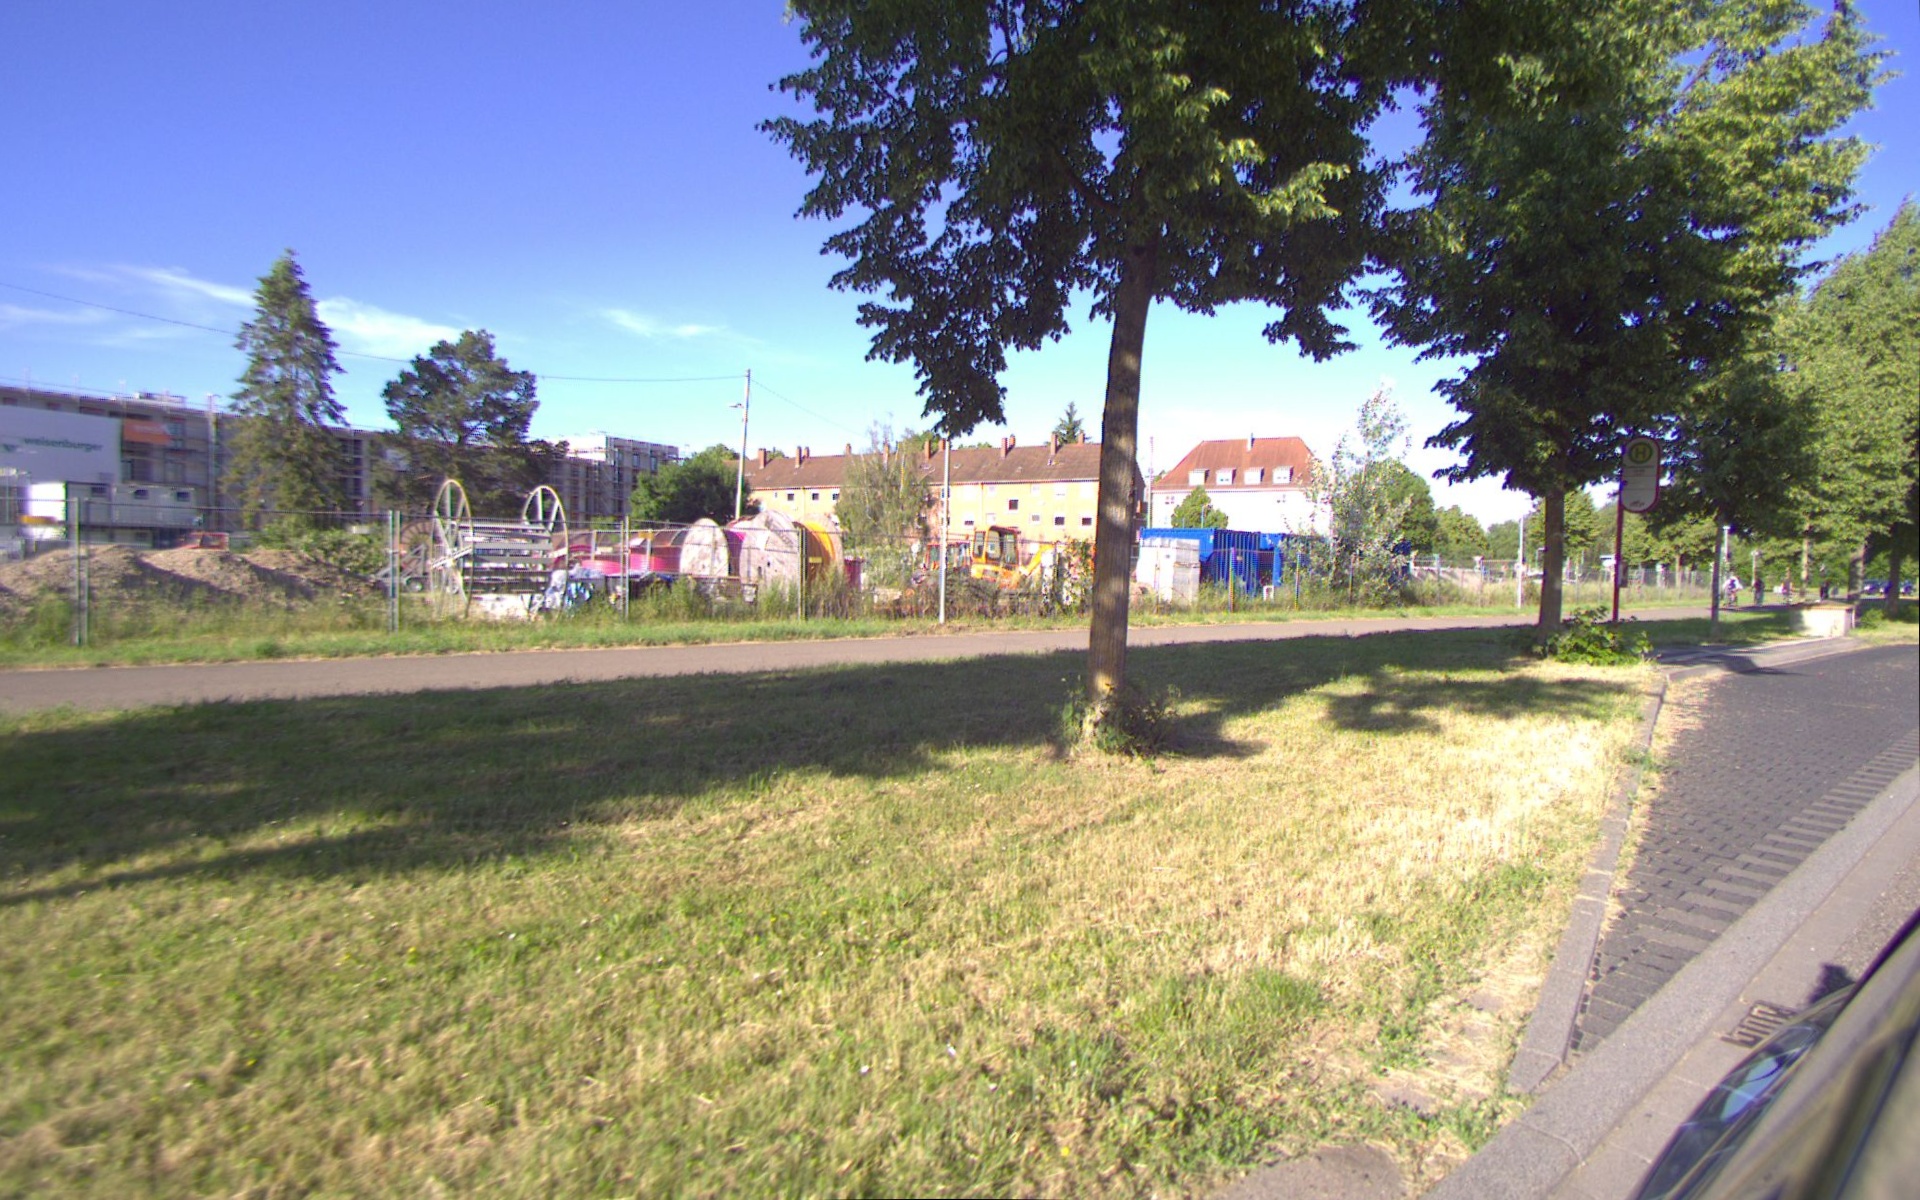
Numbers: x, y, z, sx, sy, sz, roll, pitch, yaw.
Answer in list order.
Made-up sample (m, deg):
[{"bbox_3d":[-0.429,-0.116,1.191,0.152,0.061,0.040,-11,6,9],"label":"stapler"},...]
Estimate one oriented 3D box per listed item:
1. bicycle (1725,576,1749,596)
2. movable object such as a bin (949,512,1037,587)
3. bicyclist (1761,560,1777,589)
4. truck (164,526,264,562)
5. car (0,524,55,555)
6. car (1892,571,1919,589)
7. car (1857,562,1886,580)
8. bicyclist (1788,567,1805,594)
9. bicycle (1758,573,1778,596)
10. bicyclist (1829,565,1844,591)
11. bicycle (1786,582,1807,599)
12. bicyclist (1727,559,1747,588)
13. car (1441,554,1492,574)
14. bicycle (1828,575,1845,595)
[{"bbox_3d":[42.166,-0.780,54.925,1.788,1.024,0.657,-1,3,-40],"label":"bicycle"},{"bbox_3d":[0.927,-1.442,28.711,1.758,2.038,1.800,-3,3,-39],"label":"movable object such as a bin"},{"bbox_3d":[43.038,-1.360,53.844,0.819,1.490,0.504,-2,3,-41],"label":"bicyclist"},{"bbox_3d":[-43.465,-3.246,59.062,1.990,2.038,4.371,3,3,38],"label":"truck"},{"bbox_3d":[-51.533,-3.268,54.835,1.619,1.637,3.597,2,4,43],"label":"car"},{"bbox_3d":[86.221,-1.829,92.030,3.611,1.583,1.700,-1,3,-41],"label":"car"},{"bbox_3d":[88.711,-2.813,98.486,3.191,1.660,1.683,-1,3,-41],"label":"car"},{"bbox_3d":[51.440,-1.185,62.220,0.948,1.606,0.593,-3,3,-39],"label":"bicyclist"},{"bbox_3d":[43.001,-0.820,53.848,1.577,1.165,0.507,-1,3,-41],"label":"bicycle"},{"bbox_3d":[52.951,-1.330,61.144,0.899,1.504,0.471,-3,3,-38],"label":"bicyclist"},{"bbox_3d":[51.463,-0.607,62.253,1.867,0.972,0.593,-3,4,-39],"label":"bicycle"},{"bbox_3d":[42.156,-1.431,54.910,0.781,1.572,0.654,-2,3,-40],"label":"bicyclist"},{"bbox_3d":[54.234,-3.878,108.319,4.388,2.038,2.001,0,2,0],"label":"car"},{"bbox_3d":[52.997,-0.909,61.191,1.614,1.095,0.479,-3,3,-38],"label":"bicycle"}]
